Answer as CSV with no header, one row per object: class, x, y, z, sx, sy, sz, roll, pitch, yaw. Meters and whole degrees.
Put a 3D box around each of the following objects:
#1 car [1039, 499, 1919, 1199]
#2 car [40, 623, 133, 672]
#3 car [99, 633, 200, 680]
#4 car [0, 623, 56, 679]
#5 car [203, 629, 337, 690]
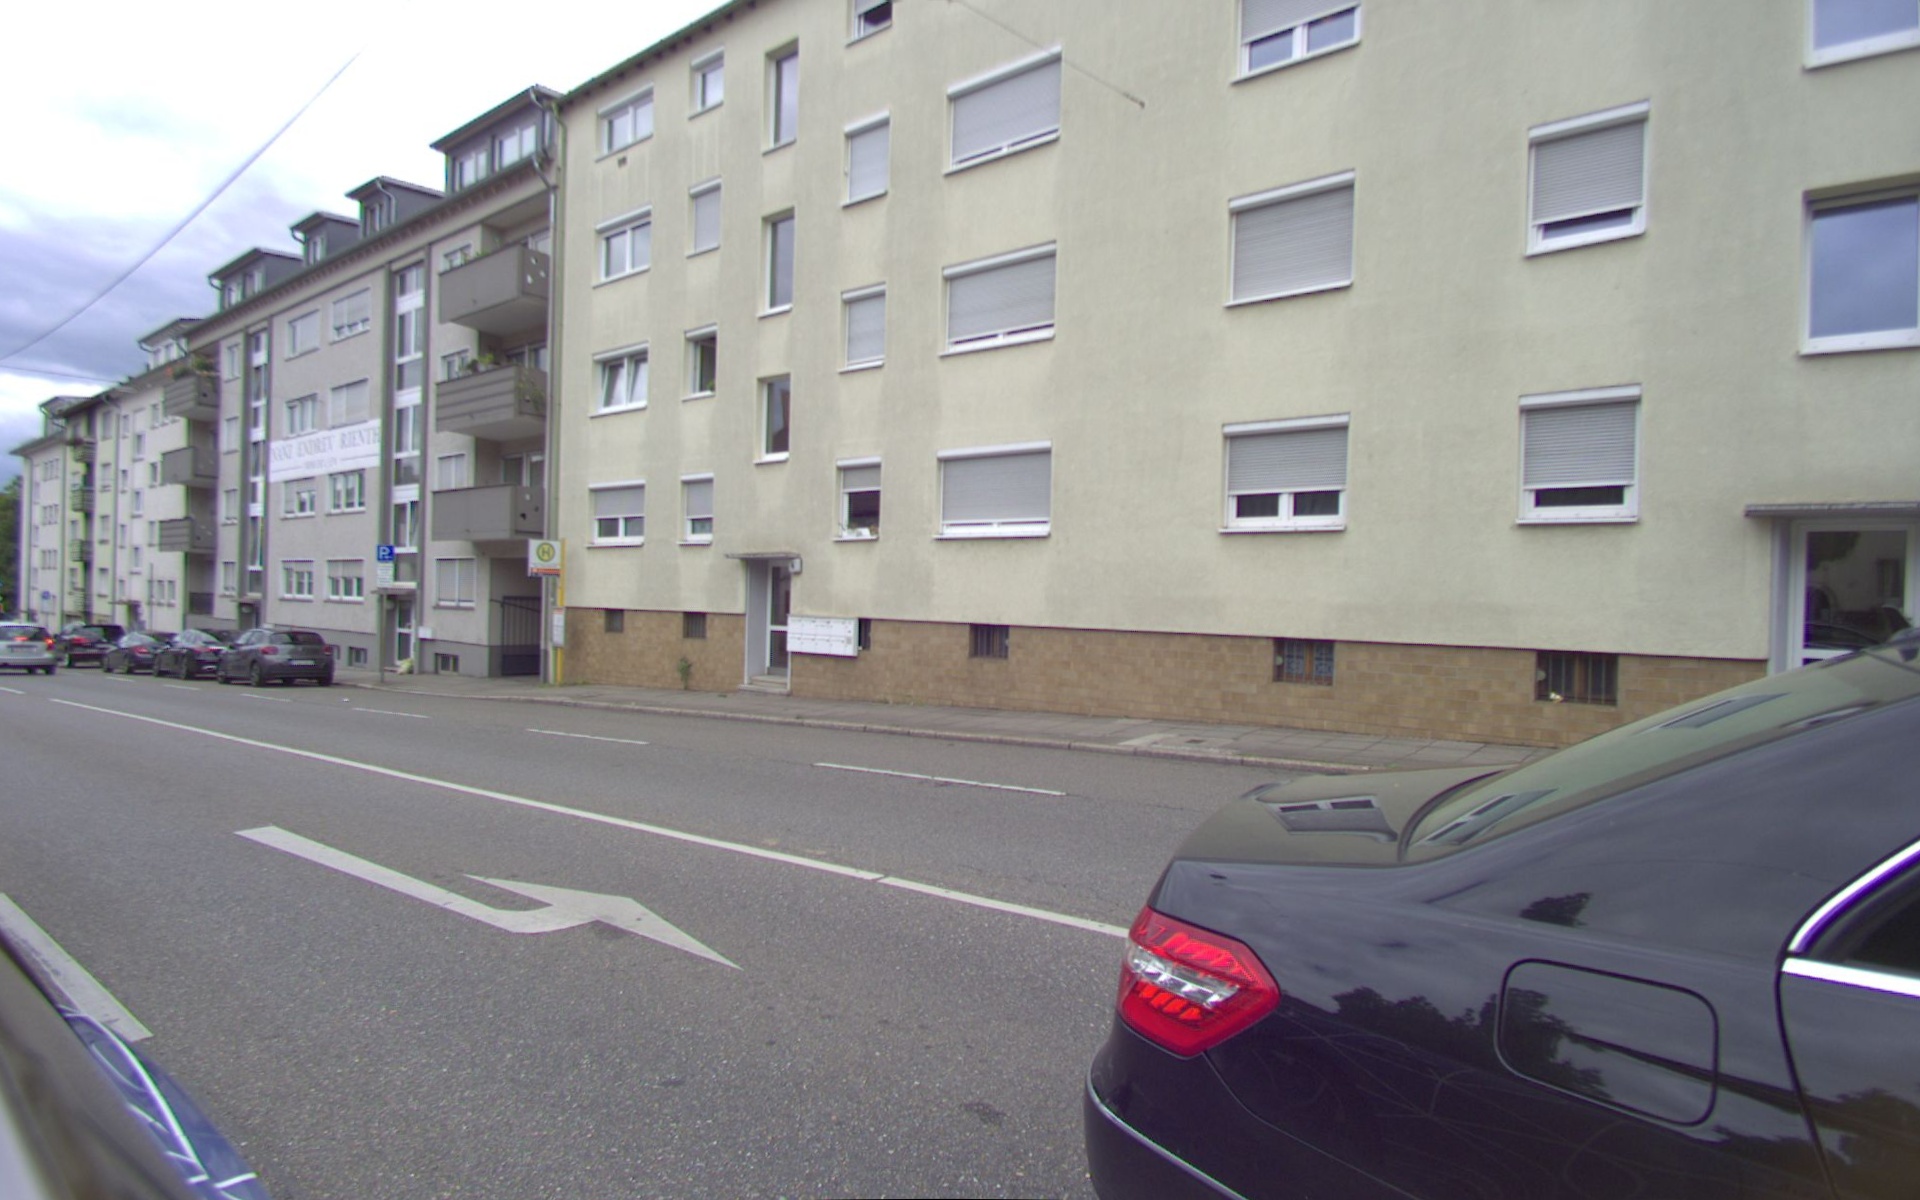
car,2.364,0.624,0.856,4.444,1.465,1.729,-1,-1,41
car,-33.546,1.791,38.849,4.302,1.767,1.852,-1,-4,39
car,-26.476,1.803,33.008,4.304,1.416,1.750,-1,-3,40
car,-29.212,1.536,31.084,4.000,1.630,1.690,-1,-5,43
car,-17.815,1.511,26.091,3.797,1.447,1.751,-1,-4,39
